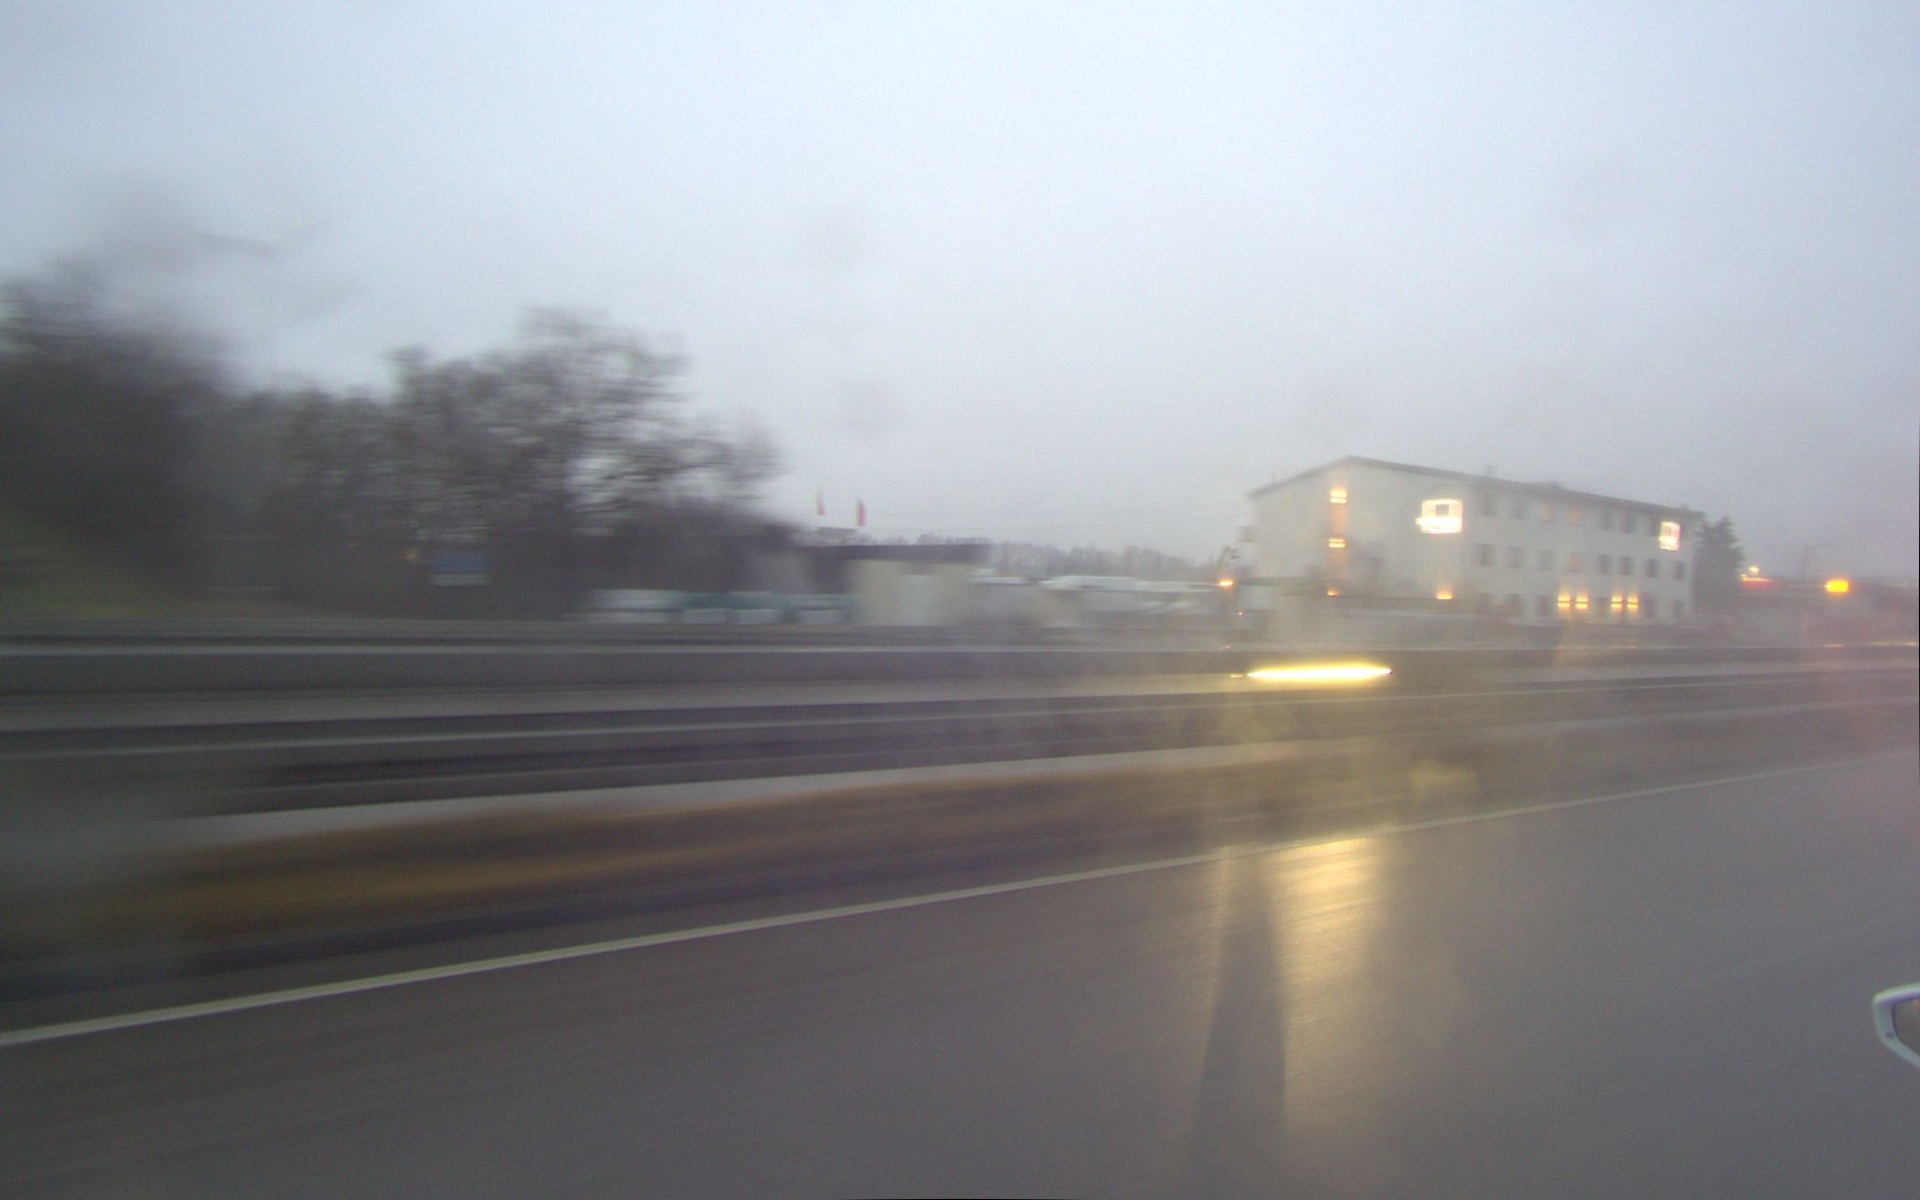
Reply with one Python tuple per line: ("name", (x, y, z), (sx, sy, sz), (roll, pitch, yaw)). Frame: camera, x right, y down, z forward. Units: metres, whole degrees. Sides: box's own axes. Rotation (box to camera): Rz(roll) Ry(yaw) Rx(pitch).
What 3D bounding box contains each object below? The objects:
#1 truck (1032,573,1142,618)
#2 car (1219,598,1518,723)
("truck", (7.484, -0.248, 58.792), (6.731, 2.488, 1.980), (1, 3, -35))
("car", (6.087, 0.799, 14.830), (4.431, 1.601, 1.867), (1, 0, -32))
